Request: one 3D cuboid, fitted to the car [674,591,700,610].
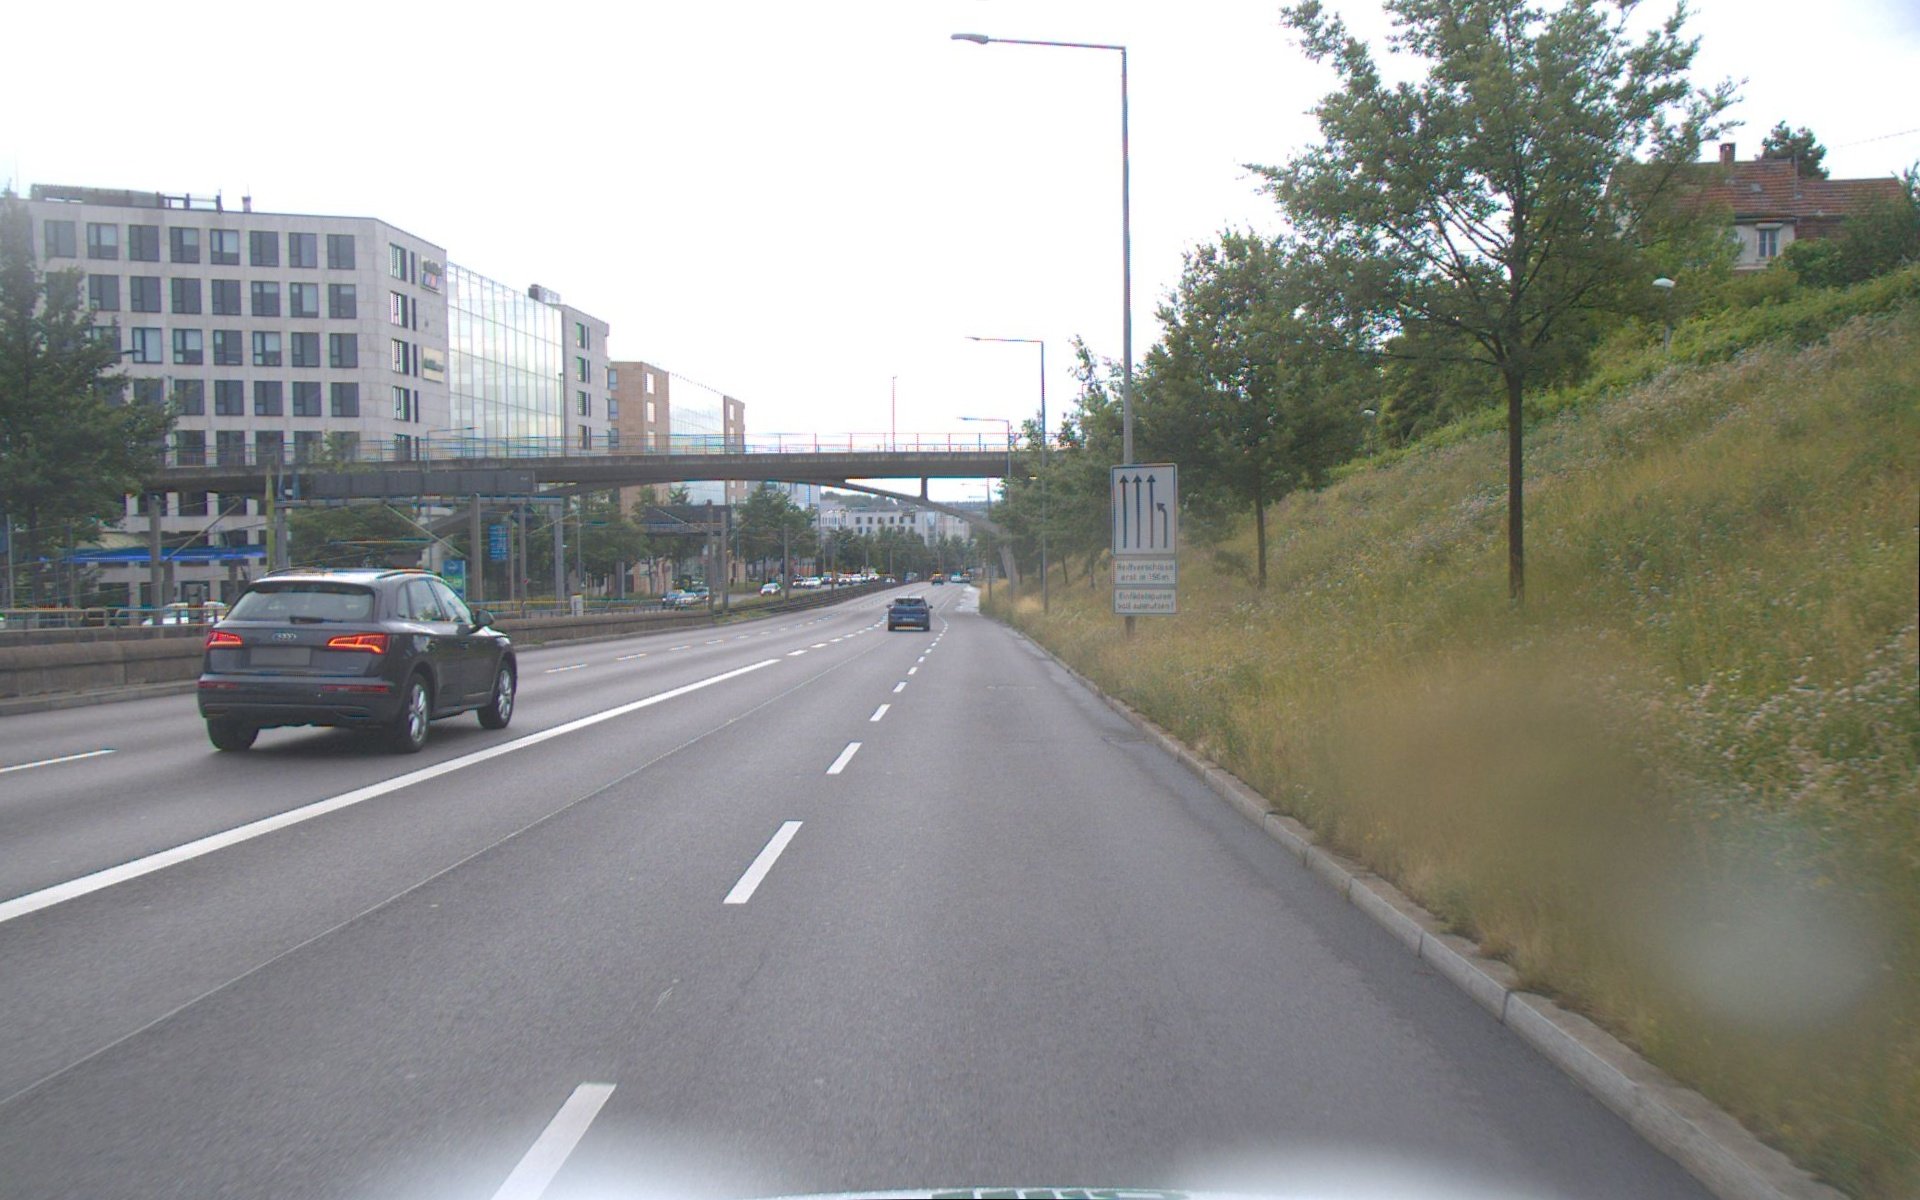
[{"bbox_3d":[-21.796,0.031,132.058,1.486,1.445,3.478,0,1,0],"label":"car"}]

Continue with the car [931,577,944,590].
[{"bbox_3d":[-3.417,-2.541,255.410,1.826,1.780,3.999,1,3,-3],"label":"car"}]

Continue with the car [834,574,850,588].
[{"bbox_3d":[-17.266,-2.744,242.743,1.952,2.049,4.001,0,0,2],"label":"car"}]

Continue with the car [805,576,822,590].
[{"bbox_3d":[-20.726,-2.356,233.750,1.952,1.765,4.250,1,3,1],"label":"car"}]

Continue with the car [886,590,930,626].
[{"bbox_3d":[-2.183,0.324,69.755,1.713,1.445,3.478,-1,1,0],"label":"car"}]

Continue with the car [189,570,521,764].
[{"bbox_3d":[-5.755,0.566,16.401,1.716,1.645,4.746,0,0,-2],"label":"car"}]

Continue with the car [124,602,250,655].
[{"bbox_3d":[-24.924,0.906,53.479,1.951,1.613,4.002,-1,-1,5],"label":"car"}]

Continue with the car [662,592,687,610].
[{"bbox_3d":[-24.612,0.070,142.690,1.486,1.445,3.478,0,1,0],"label":"car"}]

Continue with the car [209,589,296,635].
[{"bbox_3d":[-29.911,0.482,70.033,1.953,1.808,4.101,1,1,-1],"label":"car"}]

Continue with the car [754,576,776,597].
[{"bbox_3d":[-21.065,-1.524,178.729,1.953,2.048,4.001,1,3,-1],"label":"car"}]
